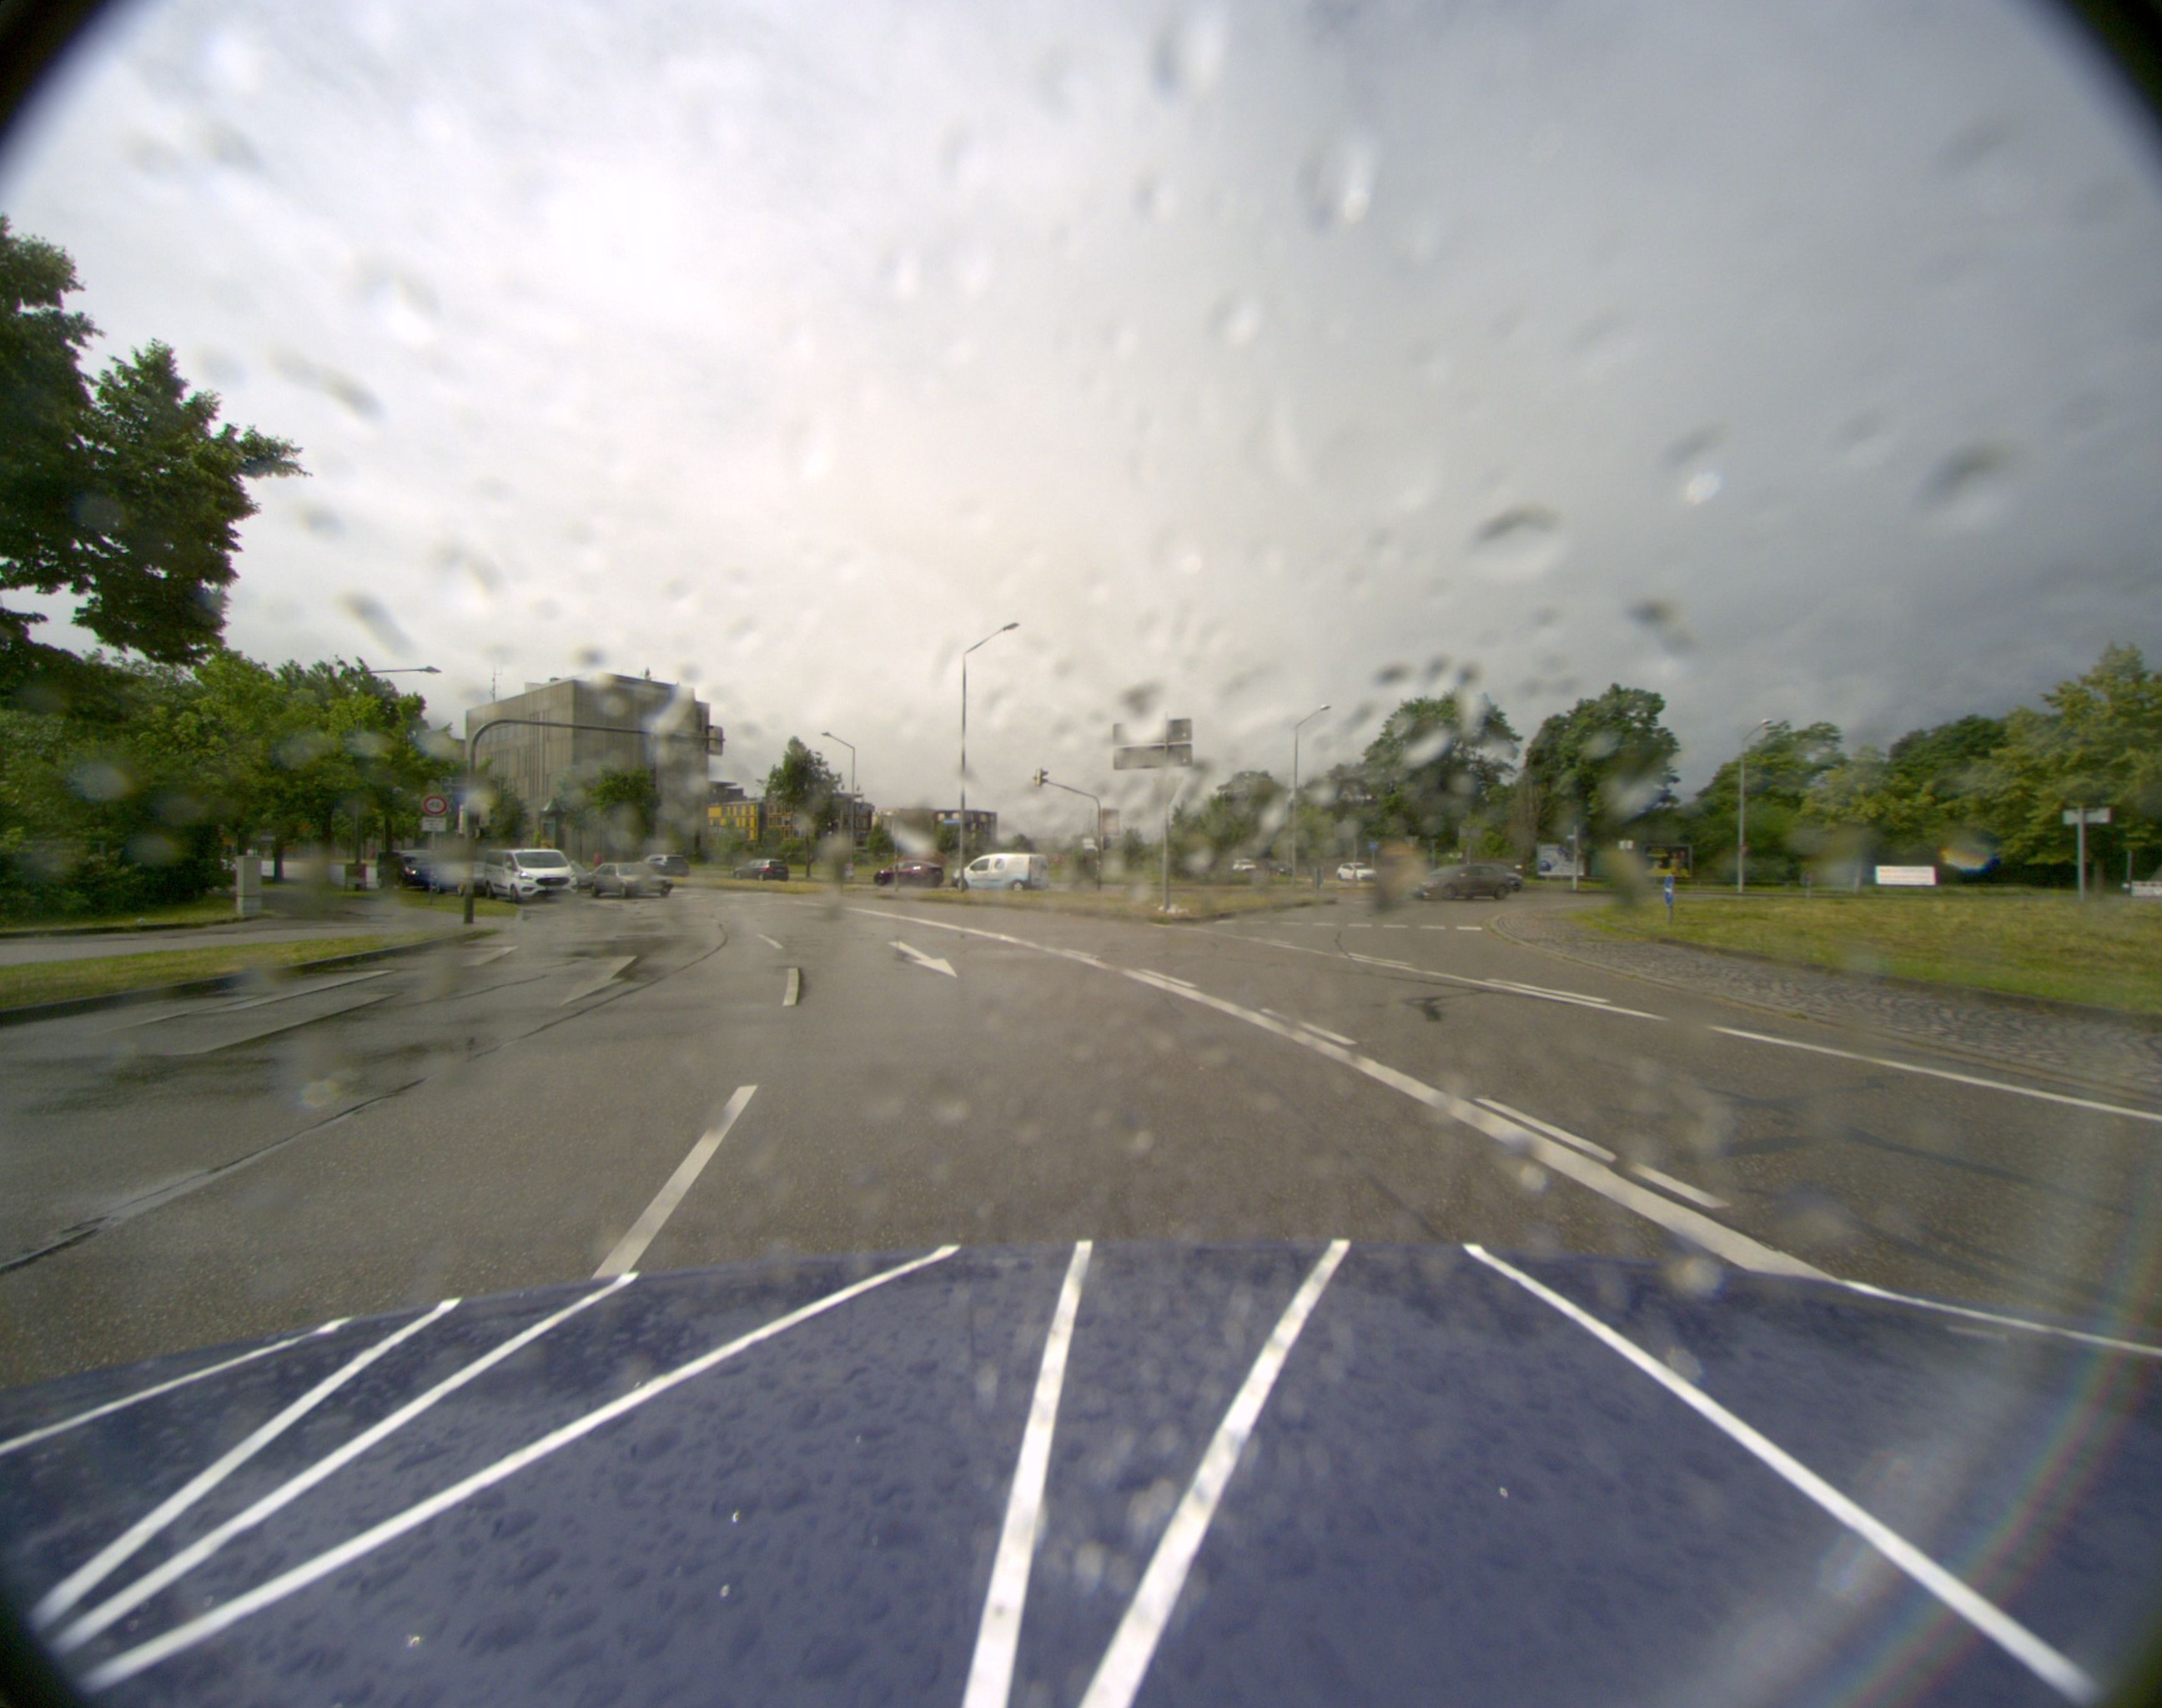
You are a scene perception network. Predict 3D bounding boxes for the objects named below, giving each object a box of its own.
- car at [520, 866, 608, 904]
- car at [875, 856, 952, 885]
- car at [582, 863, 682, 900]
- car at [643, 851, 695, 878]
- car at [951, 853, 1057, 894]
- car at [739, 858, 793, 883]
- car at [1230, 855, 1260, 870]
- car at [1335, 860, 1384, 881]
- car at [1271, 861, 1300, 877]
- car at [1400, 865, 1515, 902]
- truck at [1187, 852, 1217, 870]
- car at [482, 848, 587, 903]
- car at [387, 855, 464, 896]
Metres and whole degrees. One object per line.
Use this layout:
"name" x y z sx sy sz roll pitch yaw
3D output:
"car" -23.782 1.366 34.906 4.474 1.527 1.872 1 0 36
"car" -10.261 0.987 46.527 4.486 1.647 1.879 1 -1 30
"car" -18.500 1.075 31.240 4.538 1.372 1.871 0 1 36
"car" -28.136 0.692 51.795 2.047 1.747 4.309 2 -1 -43
"car" -3.526 0.850 34.626 4.539 1.752 1.871 0 -1 30
"car" -20.805 1.069 50.155 3.988 1.519 1.815 0 0 43
"car" 19.798 1.017 91.806 1.876 1.653 4.478 2 -1 -13
"car" 23.454 1.335 64.159 1.876 1.653 4.479 -1 0 -10
"car" 21.672 1.617 80.762 1.874 1.653 4.485 2 -2 1
"car" 15.114 1.147 30.537 4.131 1.405 1.733 0 -1 -19
"truck" 18.897 1.113 119.146 2.462 2.710 6.940 1 0 -10
"car" -21.172 0.797 29.381 4.786 1.975 2.083 0 -1 39
"car" -33.243 1.043 38.502 4.786 1.975 2.083 0 -1 38
